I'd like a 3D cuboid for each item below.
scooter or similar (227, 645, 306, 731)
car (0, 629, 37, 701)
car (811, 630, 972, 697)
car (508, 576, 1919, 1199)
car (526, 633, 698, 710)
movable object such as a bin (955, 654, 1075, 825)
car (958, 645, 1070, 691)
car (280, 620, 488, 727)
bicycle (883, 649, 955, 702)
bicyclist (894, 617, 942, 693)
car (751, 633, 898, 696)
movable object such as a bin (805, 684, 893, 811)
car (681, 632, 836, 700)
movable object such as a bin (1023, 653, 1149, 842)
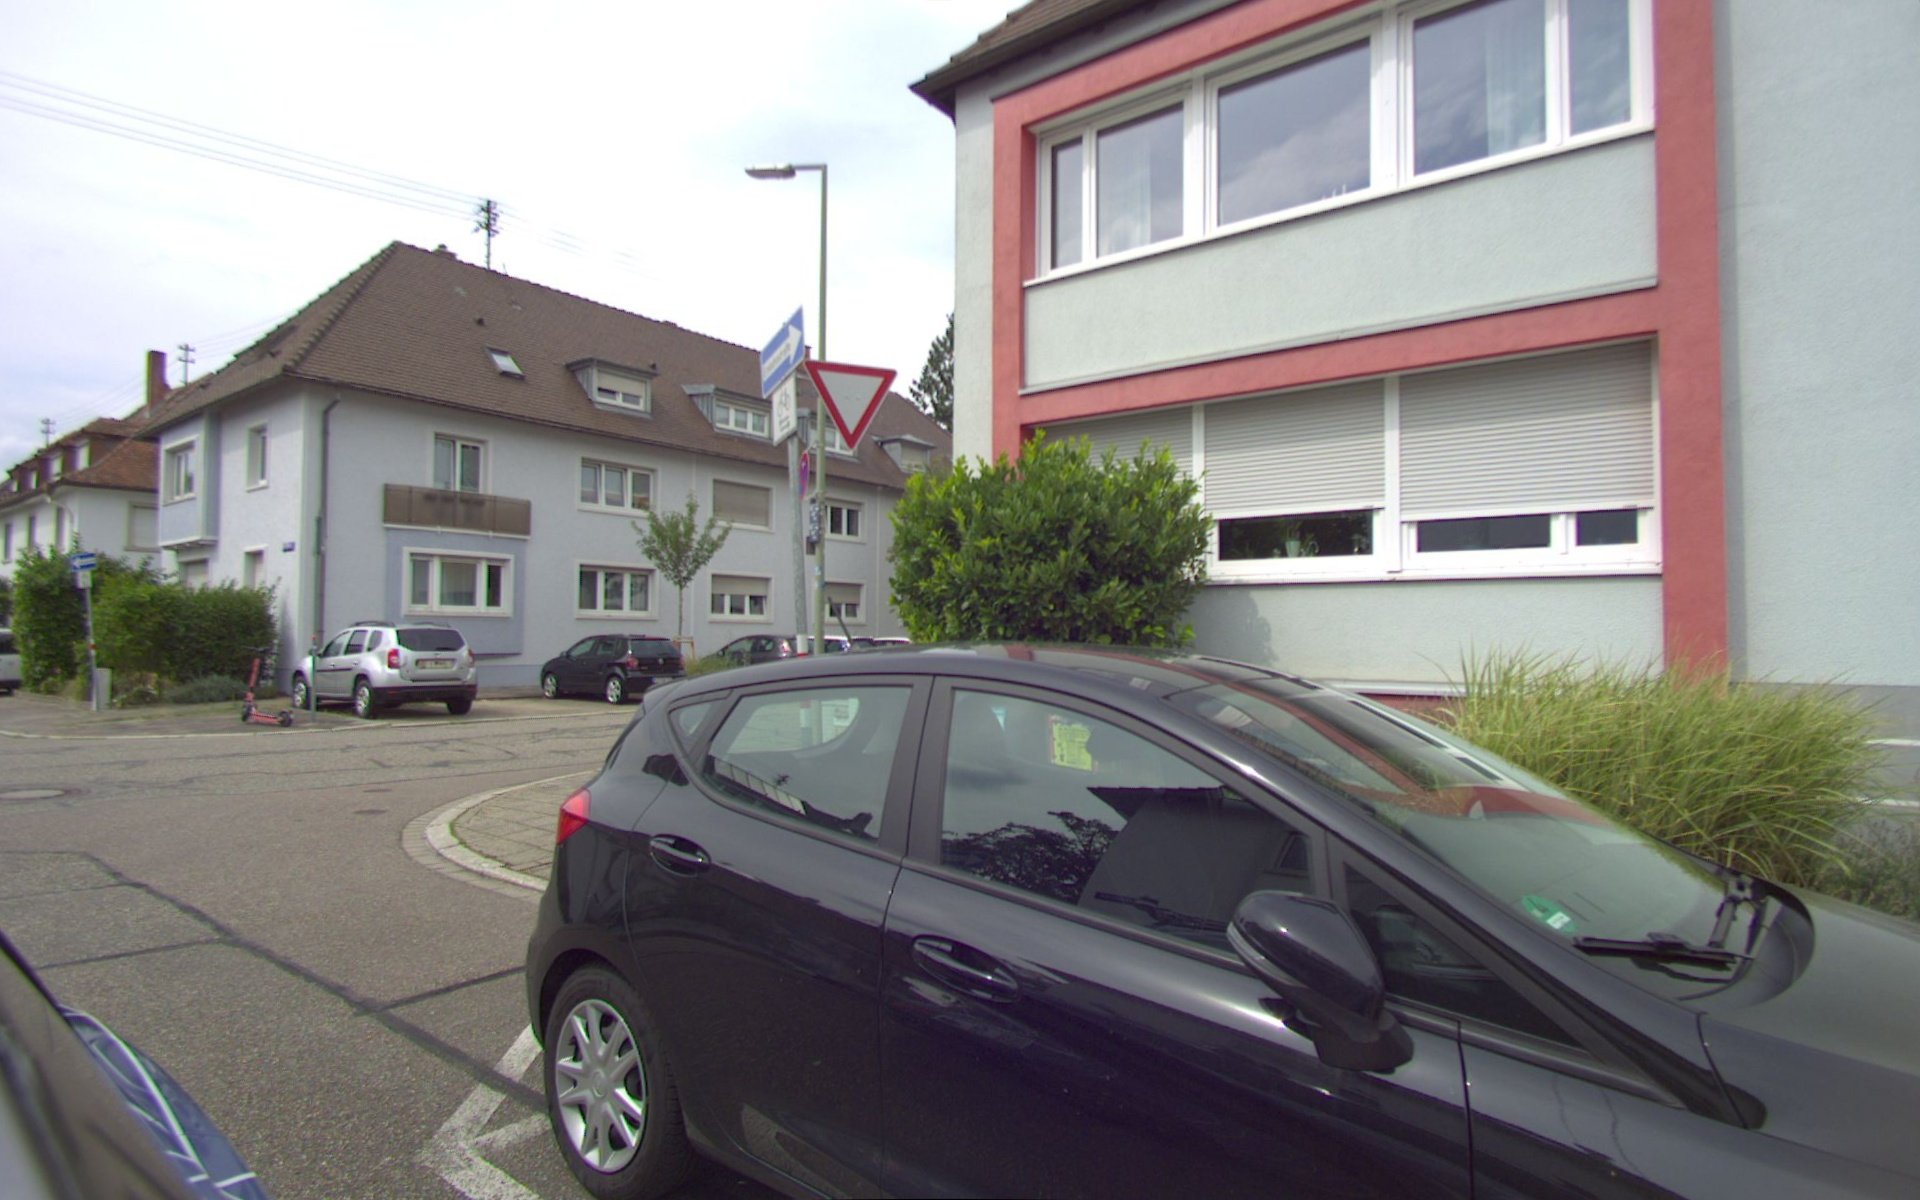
[{"bbox_3d":[-10.800,1.354,15.761,1.236,1.253,0.418,1,-2,26],"label":"scooter or similar"},{"bbox_3d":[-26.203,1.715,26.934,3.807,1.819,1.684,-2,-2,36],"label":"car"},{"bbox_3d":[-2.047,1.772,29.362,4.625,1.676,1.867,0,-2,39],"label":"car"},{"bbox_3d":[0.677,0.718,2.244,3.767,1.433,1.641,0,-2,42],"label":"car"},{"bbox_3d":[-7.752,1.521,22.416,3.995,1.432,1.690,1,-2,38],"label":"car"},{"bbox_3d":[0.404,0.961,7.267,0.592,1.122,0.671,1,-2,31],"label":"movable object such as a bin"},{"bbox_3d":[1.924,2.394,36.310,3.627,1.465,1.752,1,-2,34],"label":"car"},{"bbox_3d":[-10.472,1.250,18.315,3.930,1.645,1.844,0,-2,37],"label":"car"},{"bbox_3d":[-0.981,1.810,24.528,0.693,1.237,1.912,-3,-4,37],"label":"bicycle"},{"bbox_3d":[-1.006,1.335,24.529,0.693,1.783,0.974,-3,-4,37],"label":"bicyclist"},{"bbox_3d":[-3.765,1.721,27.821,3.995,1.519,1.690,1,-2,38],"label":"car"},{"bbox_3d":[-0.878,1.149,8.018,0.486,0.914,0.470,1,-2,32],"label":"movable object such as a bin"},{"bbox_3d":[-5.217,1.638,26.020,3.995,1.519,1.690,1,-2,38],"label":"car"},{"bbox_3d":[0.851,0.942,6.759,0.592,1.140,0.671,1,-2,31],"label":"movable object such as a bin"}]
